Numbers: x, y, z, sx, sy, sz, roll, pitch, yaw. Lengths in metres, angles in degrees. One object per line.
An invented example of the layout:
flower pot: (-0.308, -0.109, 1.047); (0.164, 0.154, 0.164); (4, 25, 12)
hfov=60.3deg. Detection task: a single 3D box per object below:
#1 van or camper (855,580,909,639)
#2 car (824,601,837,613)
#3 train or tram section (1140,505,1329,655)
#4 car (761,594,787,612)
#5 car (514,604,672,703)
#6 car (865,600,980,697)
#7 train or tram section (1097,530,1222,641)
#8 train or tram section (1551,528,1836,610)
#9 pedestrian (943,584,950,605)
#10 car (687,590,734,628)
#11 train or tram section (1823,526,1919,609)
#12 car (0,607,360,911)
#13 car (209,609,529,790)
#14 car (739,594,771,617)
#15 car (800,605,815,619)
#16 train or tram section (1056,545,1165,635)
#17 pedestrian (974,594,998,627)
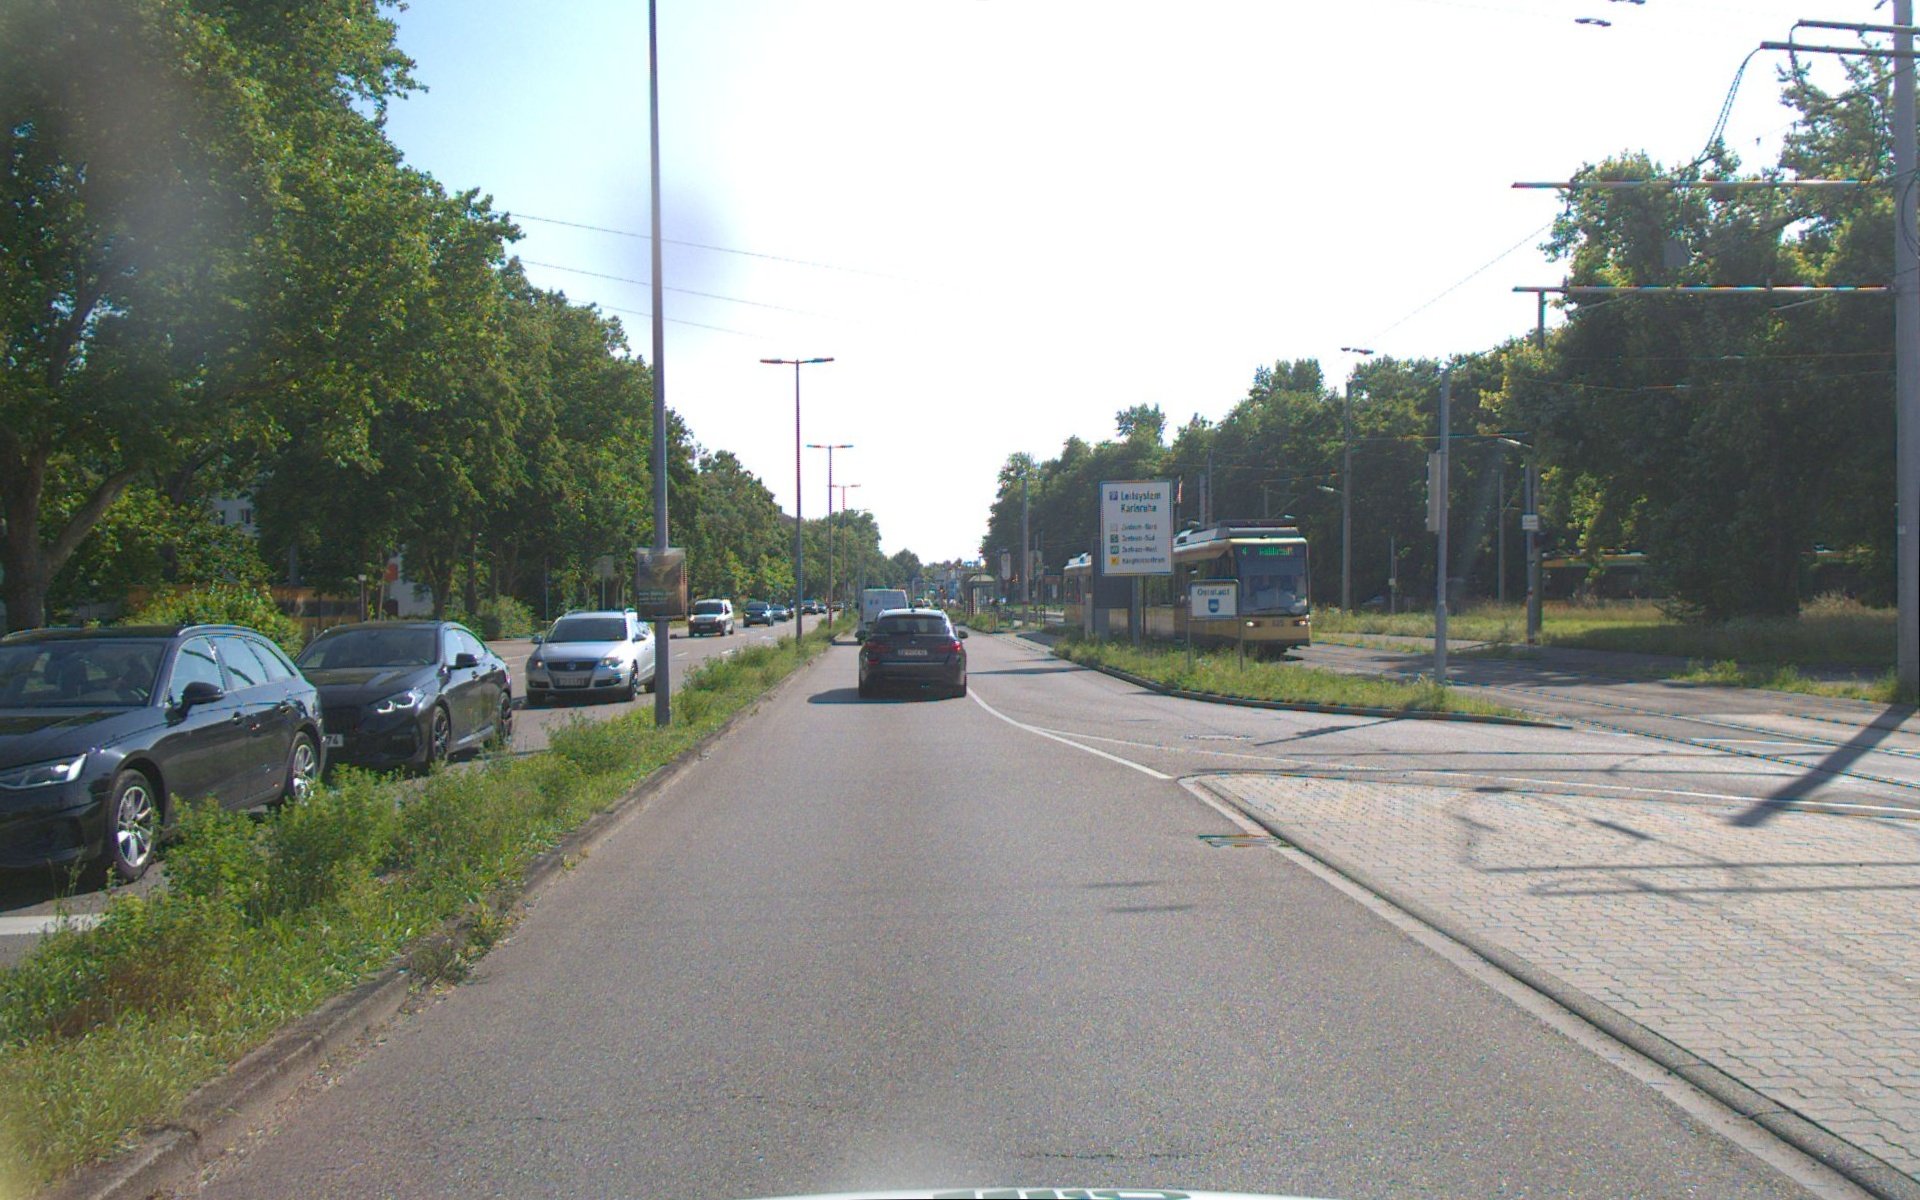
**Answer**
van or camper: (-2.938, 0.335, 62.642); (1.954, 2.133, 4.596); (0, 0, -3)
car: (-18.296, 0.965, 233.793); (1.813, 1.579, 3.998); (0, 0, -3)
train or tram section: (7.491, -0.469, 47.367); (2.740, 3.682, 12.948); (0, 0, -3)
car: (-14.507, 0.243, 129.407); (1.753, 1.351, 4.733); (0, 1, -3)
car: (-6.238, 0.851, 28.624); (1.811, 1.503, 4.644); (-1, 0, -2)
car: (-0.671, 0.795, 29.046); (1.865, 1.532, 4.063); (-1, 0, -2)
train or tram section: (6.975, -0.438, 59.462); (2.695, 3.616, 11.251); (0, 0, -2)
train or tram section: (34.775, -1.408, 78.788); (12.159, 3.642, 3.050); (-1, 0, 28)
pedestrian: (-1.285, -0.507, 159.157); (0.685, 2.049, 0.702); (0, 0, -3)
car: (-12.213, 0.429, 81.233); (1.753, 1.803, 4.568); (0, 0, -2)
train or tram section: (44.884, -1.474, 72.853); (11.971, 3.642, 3.046); (-1, 0, 33)
car: (-5.536, 0.830, 10.562); (1.792, 1.456, 4.729); (-2, 0, -2)
car: (-5.689, 0.870, 16.519); (1.793, 1.460, 4.378); (-2, 1, -3)
car: (-13.508, 0.338, 109.111); (1.753, 1.440, 4.384); (0, 0, -3)
car: (-17.627, 1.360, 191.363); (1.503, 1.512, 3.998); (0, 0, -3)
train or tram section: (6.364, -0.359, 72.561); (2.631, 3.542, 14.959); (0, 0, -3)
pedestrian: (1.324, 0.538, 83.124); (0.980, 1.663, 0.720); (0, 0, 30)
